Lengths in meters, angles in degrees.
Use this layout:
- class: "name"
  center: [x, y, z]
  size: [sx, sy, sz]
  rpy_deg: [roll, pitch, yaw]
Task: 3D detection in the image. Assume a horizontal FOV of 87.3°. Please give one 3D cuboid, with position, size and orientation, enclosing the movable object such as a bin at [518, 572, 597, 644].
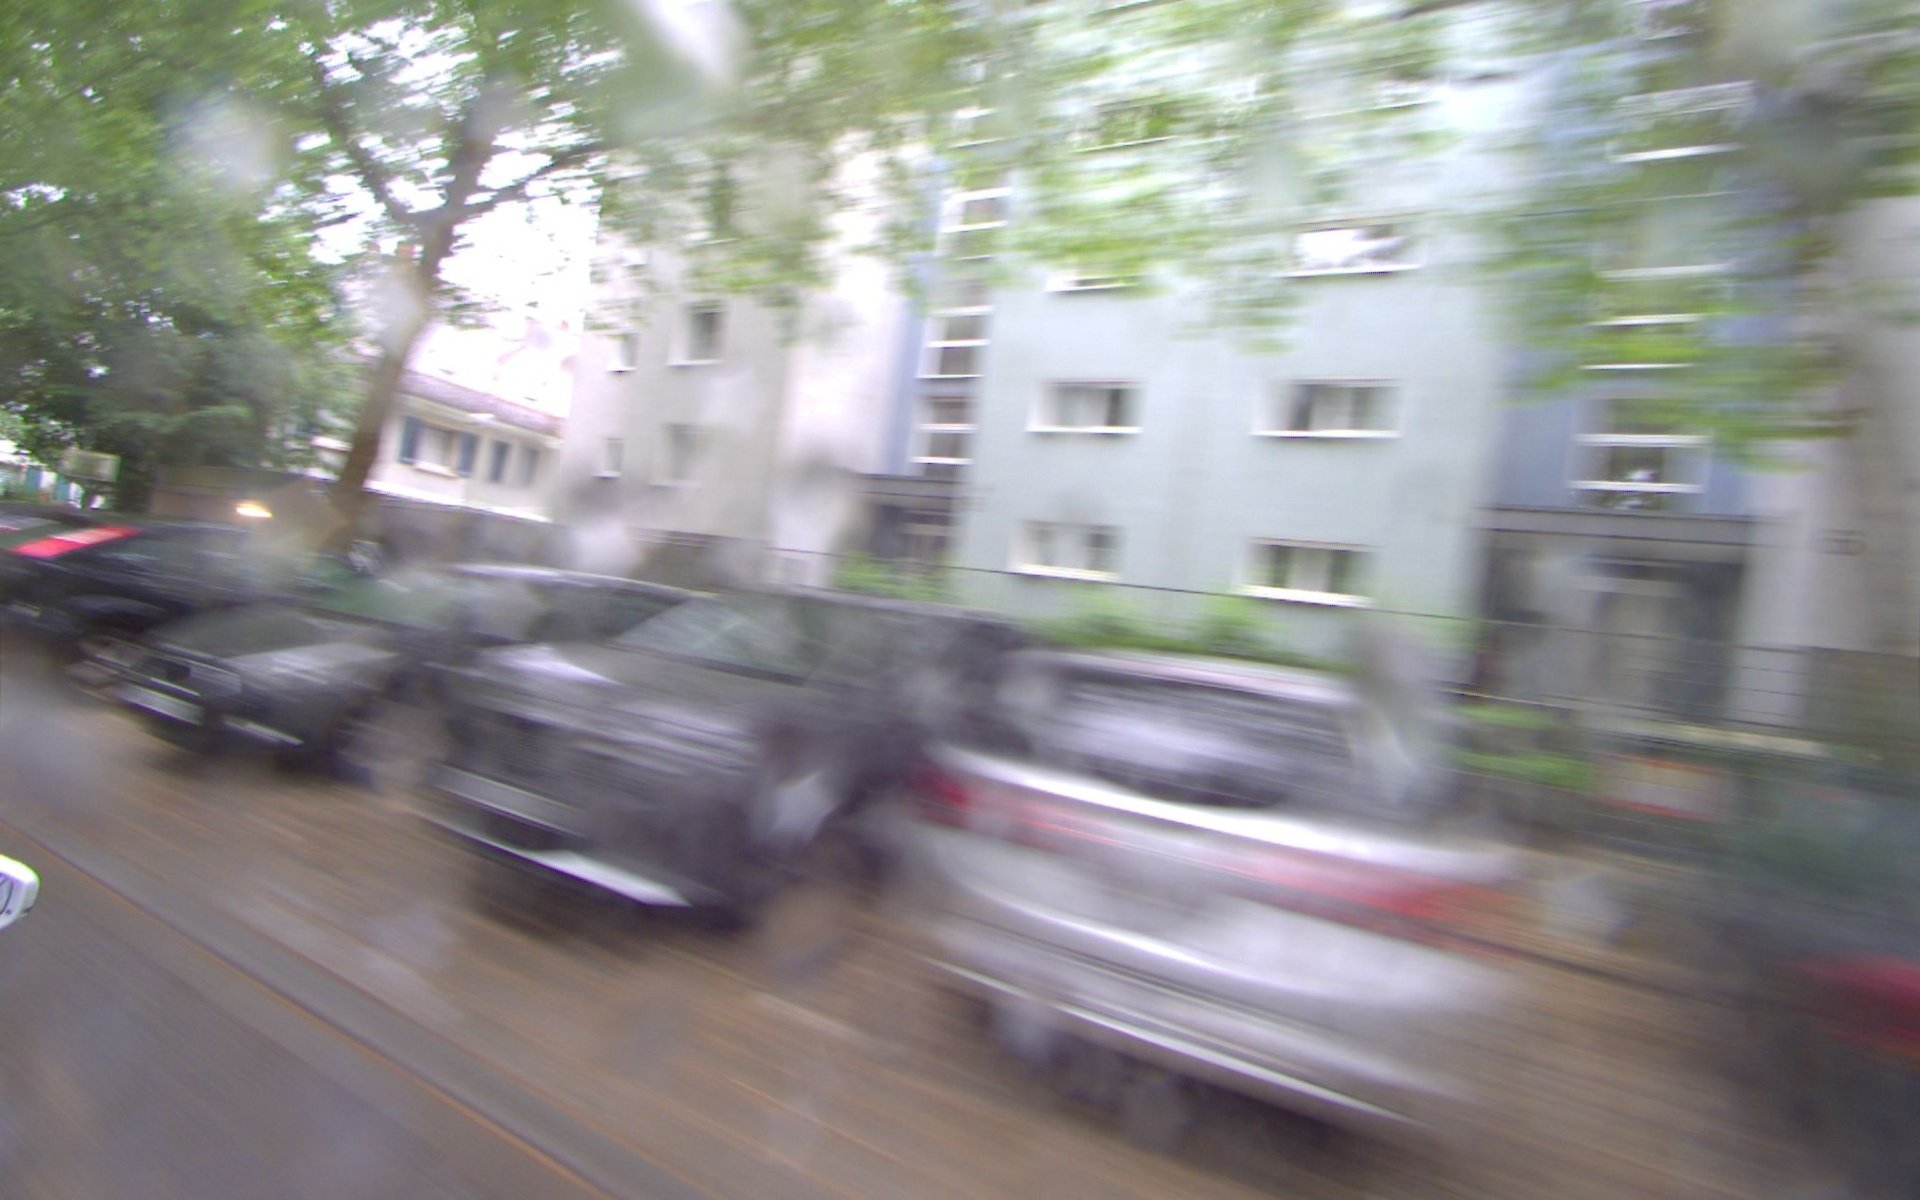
- class: "movable object such as a bin"
  center: [-8.515, 0.171, 21.294]
  size: [1.154, 1.326, 0.904]
  rpy_deg: [7, -1, 32]

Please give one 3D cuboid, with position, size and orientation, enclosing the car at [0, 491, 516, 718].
- class: "car"
  center: [-6.376, 0.117, 8.820]
  size: [1.833, 1.531, 4.109]
  rpy_deg: [7, -2, 31]

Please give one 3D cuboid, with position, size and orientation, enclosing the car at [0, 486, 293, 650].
- class: "car"
  center: [-10.642, -0.424, 12.025]
  size: [1.651, 1.596, 3.995]
  rpy_deg: [7, -2, 31]

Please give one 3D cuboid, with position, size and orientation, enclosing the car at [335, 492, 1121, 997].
- class: "car"
  center: [-0.816, 0.685, 5.816]
  size: [1.881, 1.674, 4.221]
  rpy_deg: [7, -3, 30]

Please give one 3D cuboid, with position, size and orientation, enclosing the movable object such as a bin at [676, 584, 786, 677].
- class: "movable object such as a bin"
  center: [-4.155, 0.567, 18.266]
  size: [1.323, 1.455, 1.206]
  rpy_deg: [7, -1, 32]

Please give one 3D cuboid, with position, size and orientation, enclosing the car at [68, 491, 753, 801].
- class: "car"
  center: [-3.641, 0.413, 7.513]
  size: [1.750, 1.547, 4.054]
  rpy_deg: [8, -2, 29]

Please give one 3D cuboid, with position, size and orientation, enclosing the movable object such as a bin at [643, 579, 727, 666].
- class: "movable object such as a bin"
  center: [-5.184, 0.429, 18.978]
  size: [1.095, 1.455, 0.865]
  rpy_deg: [7, -1, 32]

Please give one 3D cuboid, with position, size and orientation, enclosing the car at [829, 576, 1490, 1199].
- class: "car"
  center: [1.416, 1.039, 4.741]
  size: [1.717, 1.601, 4.223]
  rpy_deg: [8, -2, 29]

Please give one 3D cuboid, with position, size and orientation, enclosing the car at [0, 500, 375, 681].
- class: "car"
  center: [-8.440, -0.096, 10.131]
  size: [1.651, 1.454, 3.995]
  rpy_deg: [7, -2, 31]

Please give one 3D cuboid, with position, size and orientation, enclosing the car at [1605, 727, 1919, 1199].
- class: "car"
  center: [3.216, 1.263, 3.015]
  size: [1.656, 1.456, 4.049]
  rpy_deg: [8, -3, 28]
